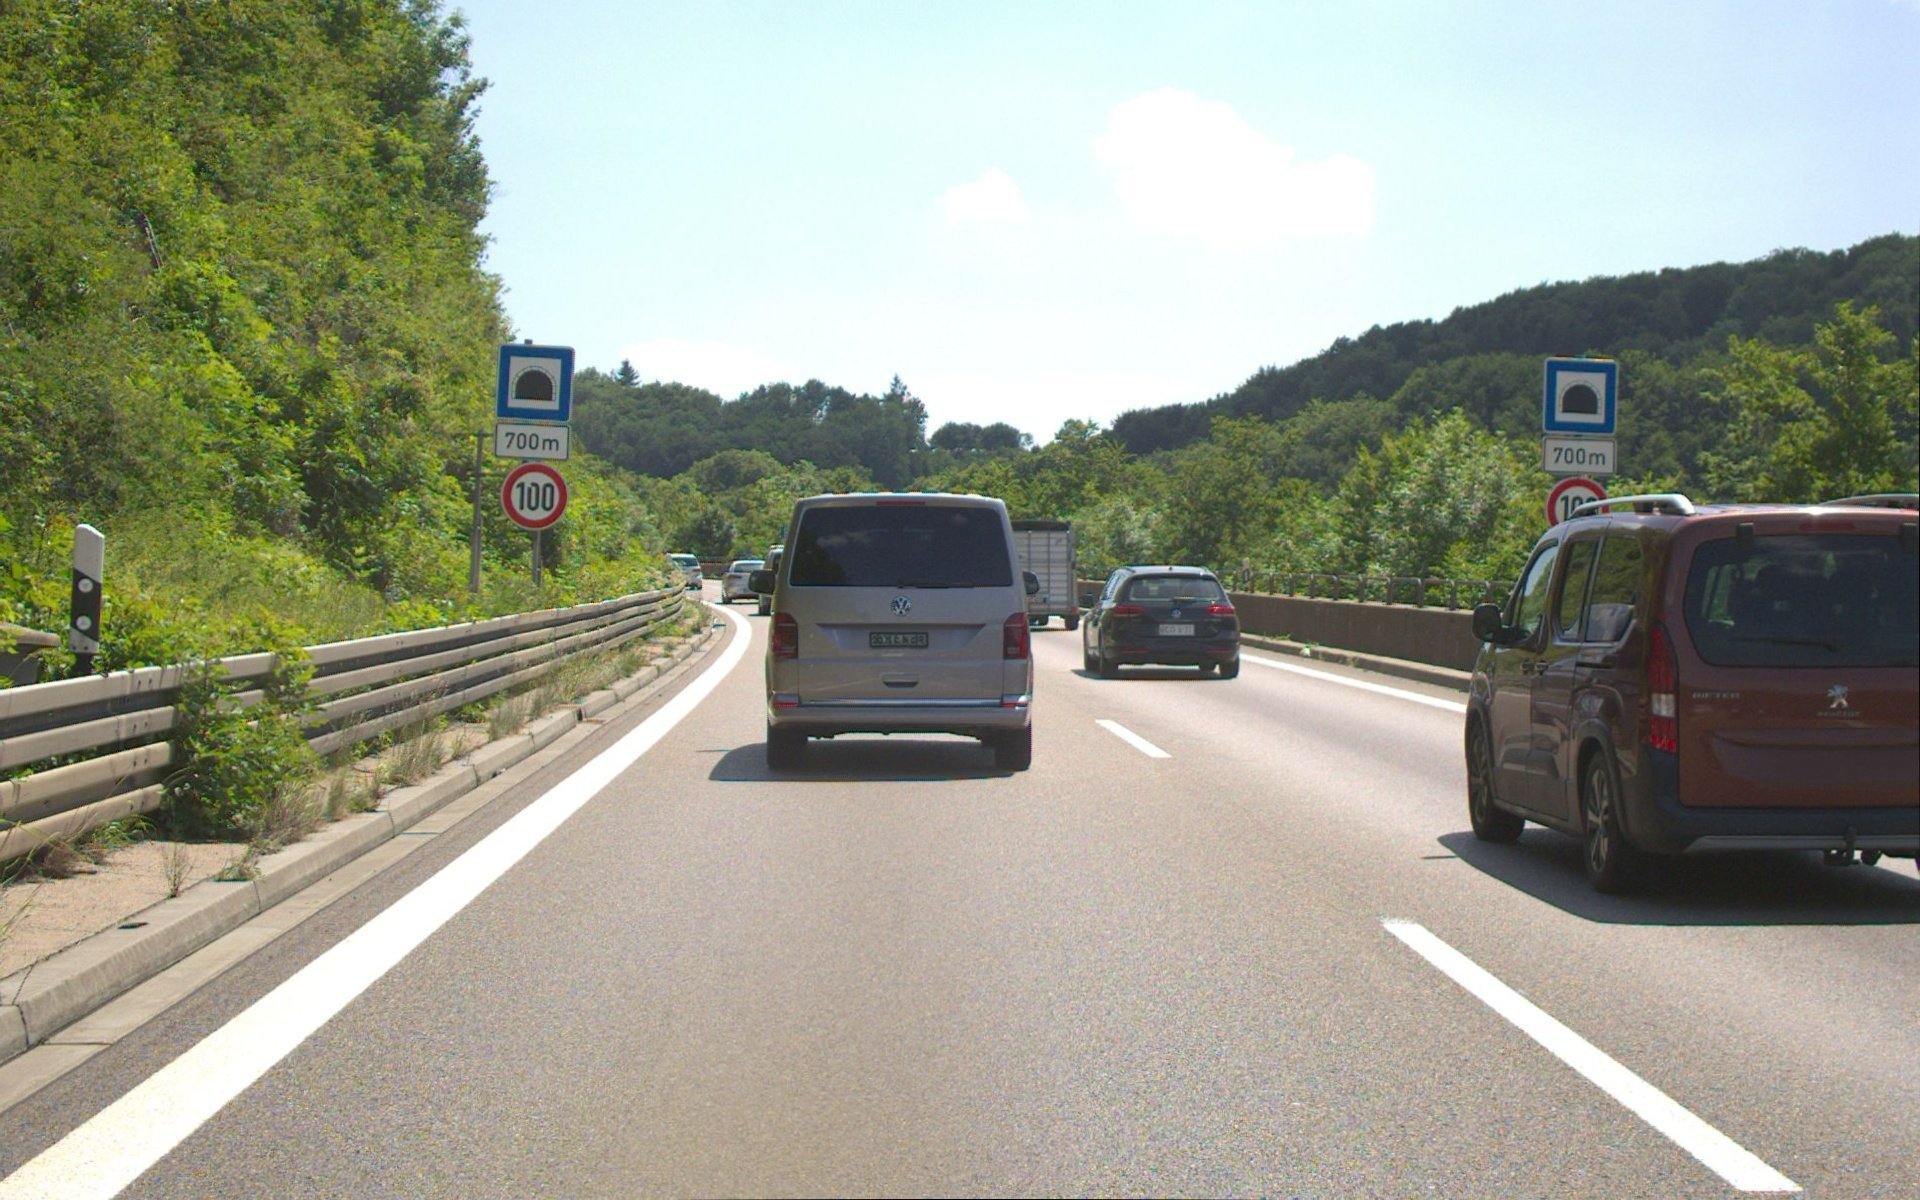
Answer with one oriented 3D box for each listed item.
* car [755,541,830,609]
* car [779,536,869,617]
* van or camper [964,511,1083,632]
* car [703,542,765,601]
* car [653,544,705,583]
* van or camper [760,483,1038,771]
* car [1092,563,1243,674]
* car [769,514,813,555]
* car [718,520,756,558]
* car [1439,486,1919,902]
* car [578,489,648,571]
[{"bbox_3d":[-4.558,-0.696,93.750,1.993,1.811,4.001,0,1,-3],"label":"car"},{"bbox_3d":[-3.144,-0.555,79.068,1.993,1.811,4.001,0,1,-3],"label":"car"},{"bbox_3d":[1.351,-0.631,75.562,2.263,2.542,4.737,-1,1,-3],"label":"van or camper"},{"bbox_3d":[-7.510,-0.968,114.547,1.993,1.908,4.001,0,1,-3],"label":"car"},{"bbox_3d":[-12.274,-1.582,149.896,2.142,1.601,5.079,-1,0,-6],"label":"car"},{"bbox_3d":[-0.526,0.159,25.489,1.875,1.943,4.294,0,1,-3],"label":"van or camper"},{"bbox_3d":[2.698,0.211,45.293,1.768,1.371,3.593,1,1,0],"label":"car"},{"bbox_3d":[-8.507,-3.283,172.893,1.993,2.007,4.001,1,1,-6],"label":"car"},{"bbox_3d":[-12.216,-3.320,188.001,1.993,2.007,4.001,1,1,-5],"label":"car"},{"bbox_3d":[3.697,0.392,17.108,1.833,1.778,4.676,0,0,-2],"label":"car"},{"bbox_3d":[-21.271,-4.262,210.163,4.042,4.855,10.111,0,1,-7],"label":"car"}]
